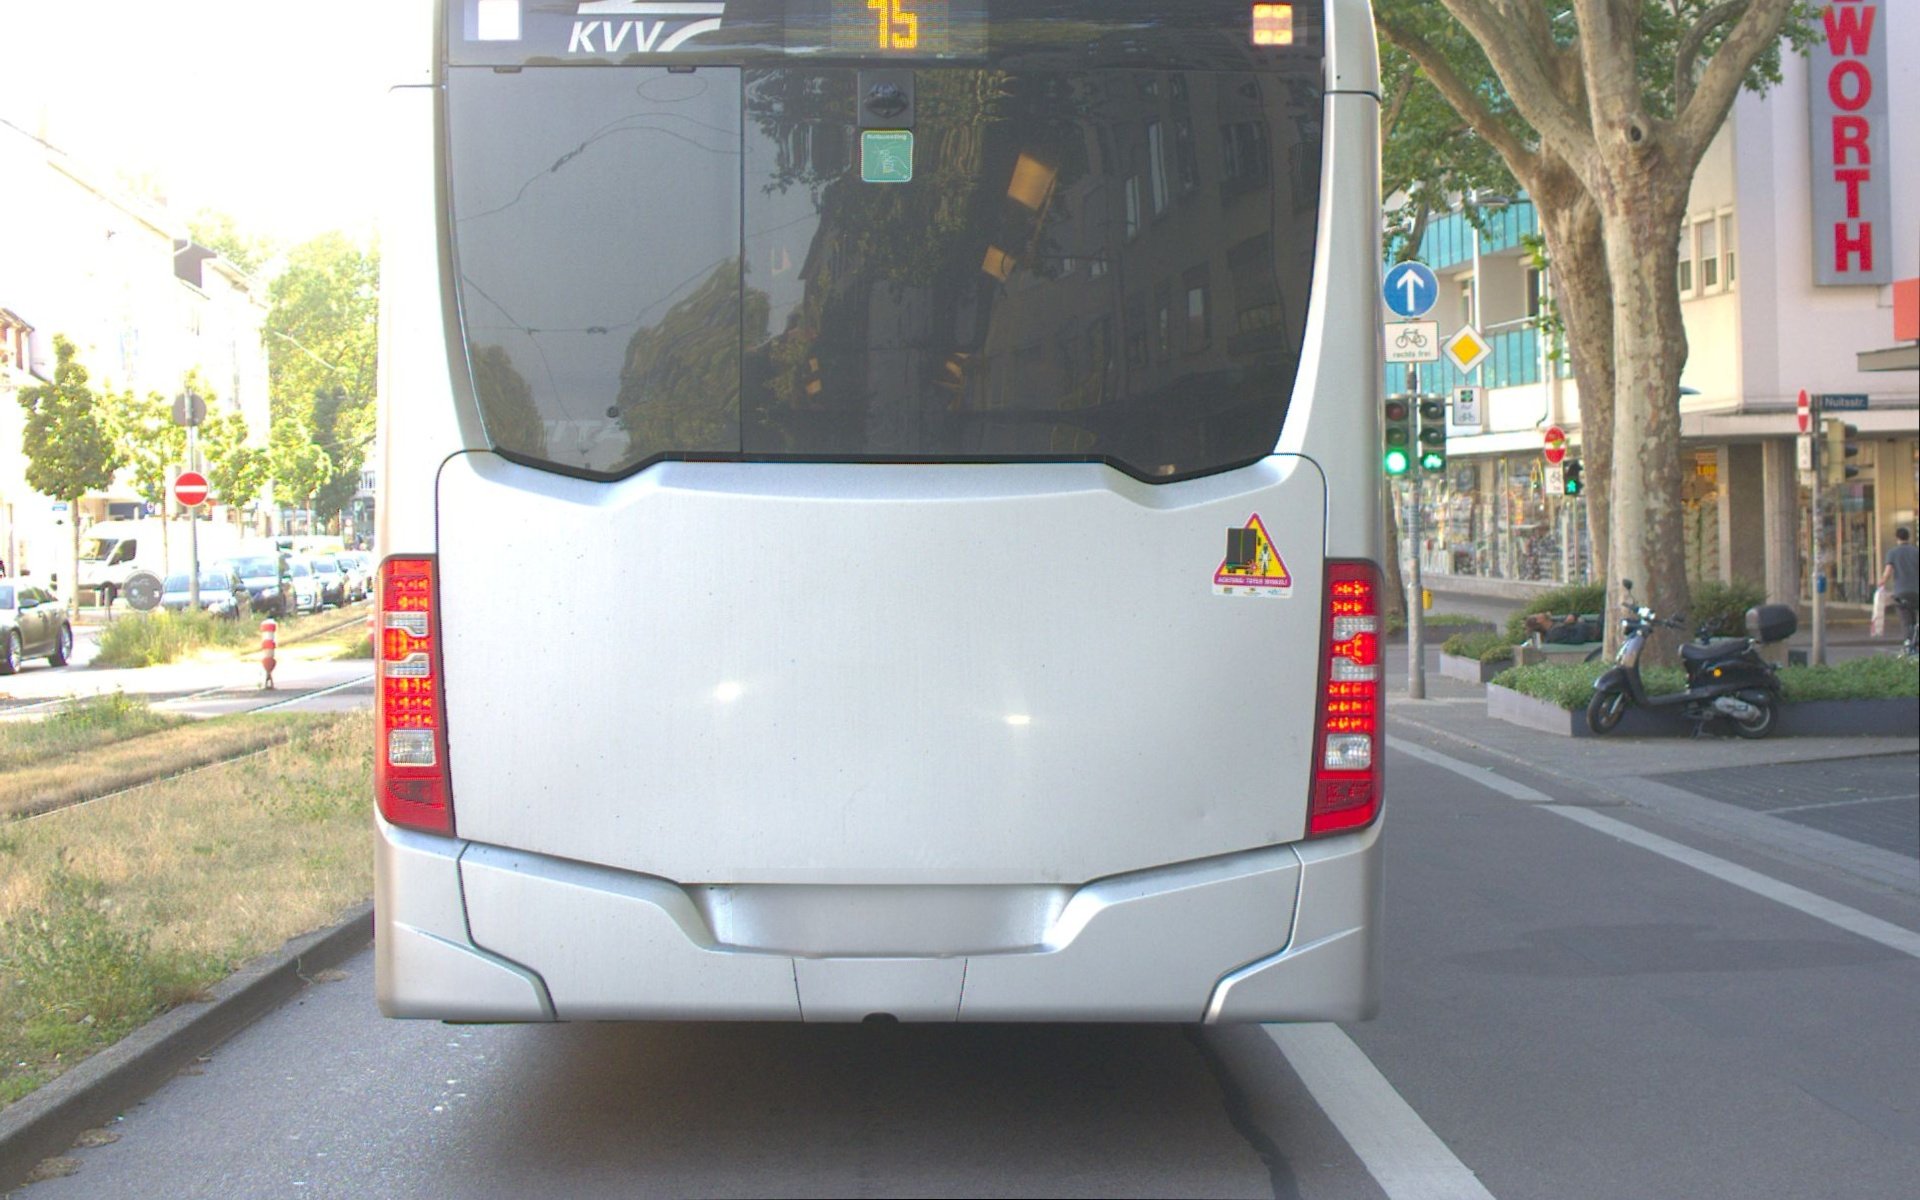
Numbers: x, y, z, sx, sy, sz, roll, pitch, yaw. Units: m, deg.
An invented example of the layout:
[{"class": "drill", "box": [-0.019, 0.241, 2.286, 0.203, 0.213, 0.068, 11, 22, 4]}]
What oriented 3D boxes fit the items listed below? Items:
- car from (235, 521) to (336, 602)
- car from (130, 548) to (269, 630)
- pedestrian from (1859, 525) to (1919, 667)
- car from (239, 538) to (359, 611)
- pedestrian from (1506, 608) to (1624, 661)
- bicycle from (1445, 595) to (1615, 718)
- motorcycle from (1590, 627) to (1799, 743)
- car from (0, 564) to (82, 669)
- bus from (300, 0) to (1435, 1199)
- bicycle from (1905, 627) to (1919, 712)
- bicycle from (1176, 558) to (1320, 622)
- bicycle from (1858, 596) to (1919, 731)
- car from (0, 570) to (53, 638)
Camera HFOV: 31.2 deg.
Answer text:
[{"class": "car", "box": [-17.479, -1.006, 89.291, 1.993, 2.007, 4.001, -1, 1, -3]}, {"class": "car", "box": [-15.528, -0.241, 70.374, 1.780, 1.445, 4.044, -3, 2, 2]}, {"class": "pedestrian", "box": [12.012, -0.061, 44.004, 0.780, 1.788, 0.764, -1, 1, 0]}, {"class": "car", "box": [-15.215, -0.617, 79.326, 1.780, 1.609, 4.508, -1, 1, 2]}, {"class": "pedestrian", "box": [6.882, 0.391, 39.145, 1.254, 0.587, 0.482, 0, 1, -2]}, {"class": "bicycle", "box": [5.434, 0.538, 32.808, 1.509, 1.101, 0.460, 2, 1, 0]}, {"class": "motorcycle", "box": [6.031, 0.694, 28.267, 1.570, 0.889, 0.544, -1, 1, -3]}, {"class": "car", "box": [-15.431, 0.244, 54.106, 1.993, 1.554, 4.775, -1, 1, 0]}, {"class": "bus", "box": [-0.187, -0.175, 11.687, 2.678, 3.073, 7.114, 0, 1, 1]}, {"class": "bicycle", "box": [9.962, 0.640, 32.535, 1.877, 0.763, 0.711, -1, 1, 8]}, {"class": "bicycle", "box": [4.926, -0.174, 58.830, 2.309, 1.025, 0.837, -1, 2, -8]}, {"class": "bicycle", "box": [9.272, 0.532, 31.506, 1.877, 1.185, 0.711, -4, 0, 8]}, {"class": "car", "box": [-21.769, 0.123, 72.713, 4.538, 1.407, 2.000, -2, 1, -36]}]
